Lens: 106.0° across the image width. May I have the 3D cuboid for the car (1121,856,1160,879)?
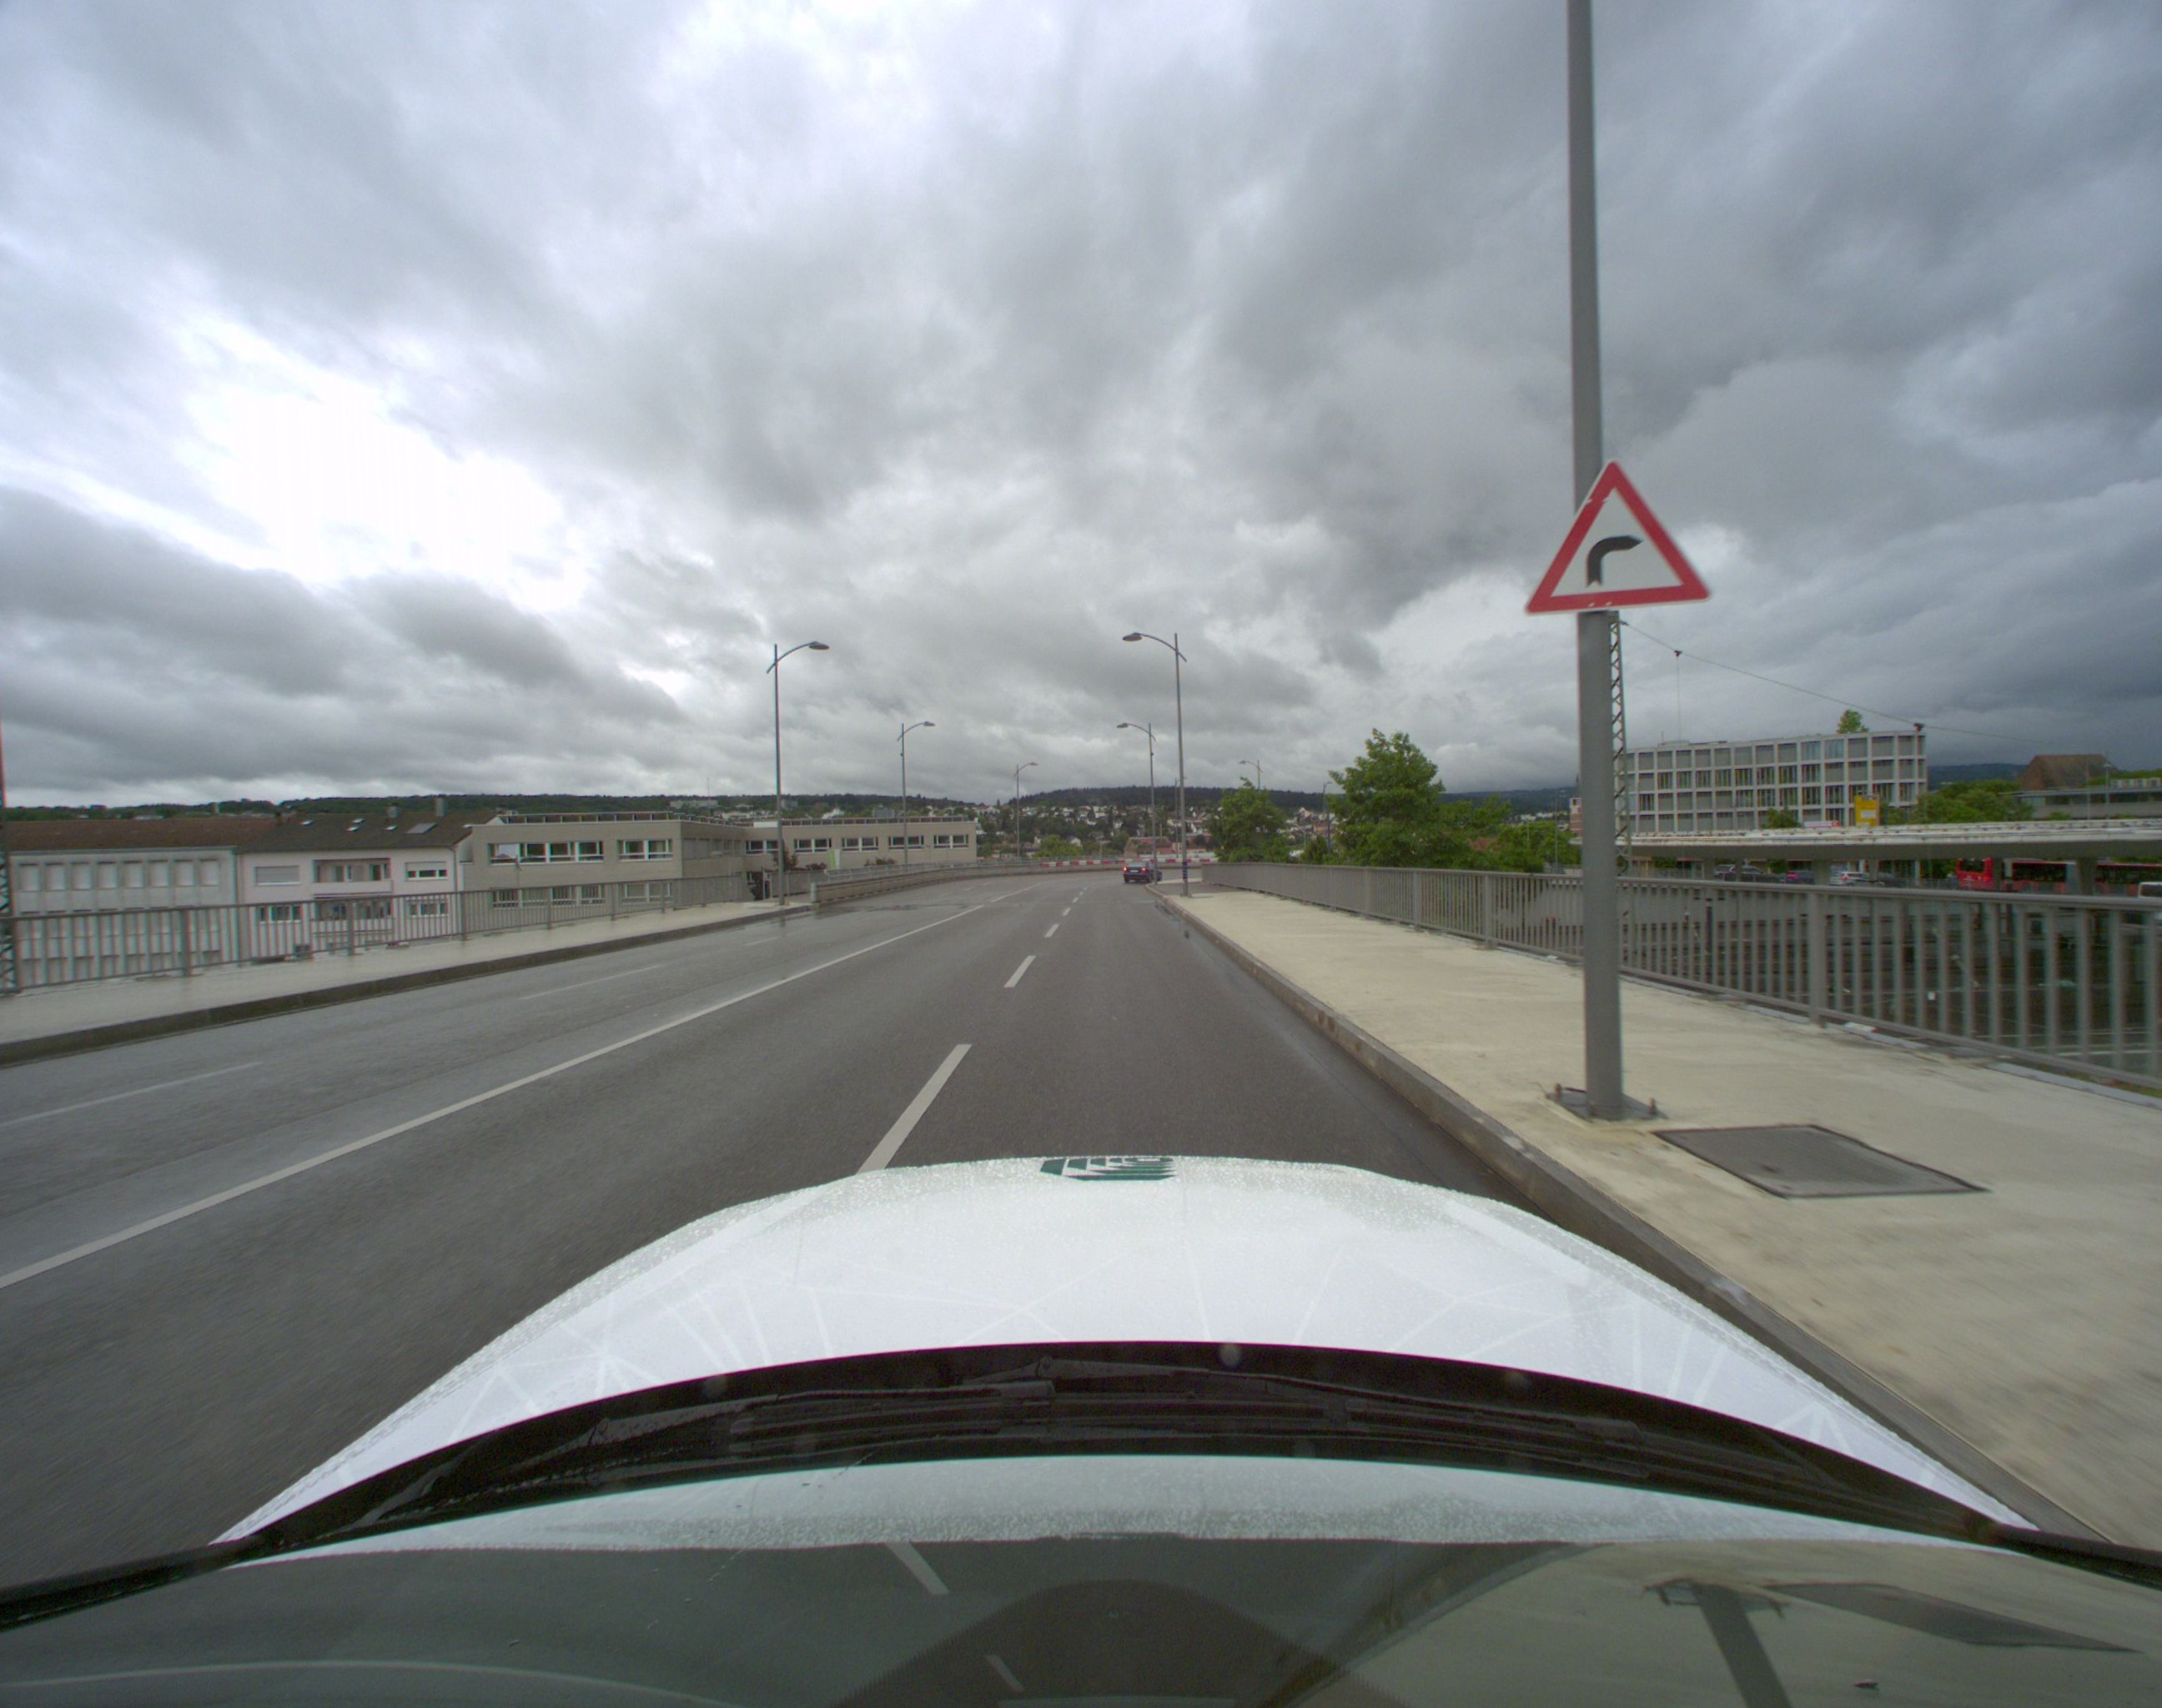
[{"bbox_3d":[3.858,0.870,52.586,1.692,1.419,3.742,-1,0,17],"label":"car"}]
